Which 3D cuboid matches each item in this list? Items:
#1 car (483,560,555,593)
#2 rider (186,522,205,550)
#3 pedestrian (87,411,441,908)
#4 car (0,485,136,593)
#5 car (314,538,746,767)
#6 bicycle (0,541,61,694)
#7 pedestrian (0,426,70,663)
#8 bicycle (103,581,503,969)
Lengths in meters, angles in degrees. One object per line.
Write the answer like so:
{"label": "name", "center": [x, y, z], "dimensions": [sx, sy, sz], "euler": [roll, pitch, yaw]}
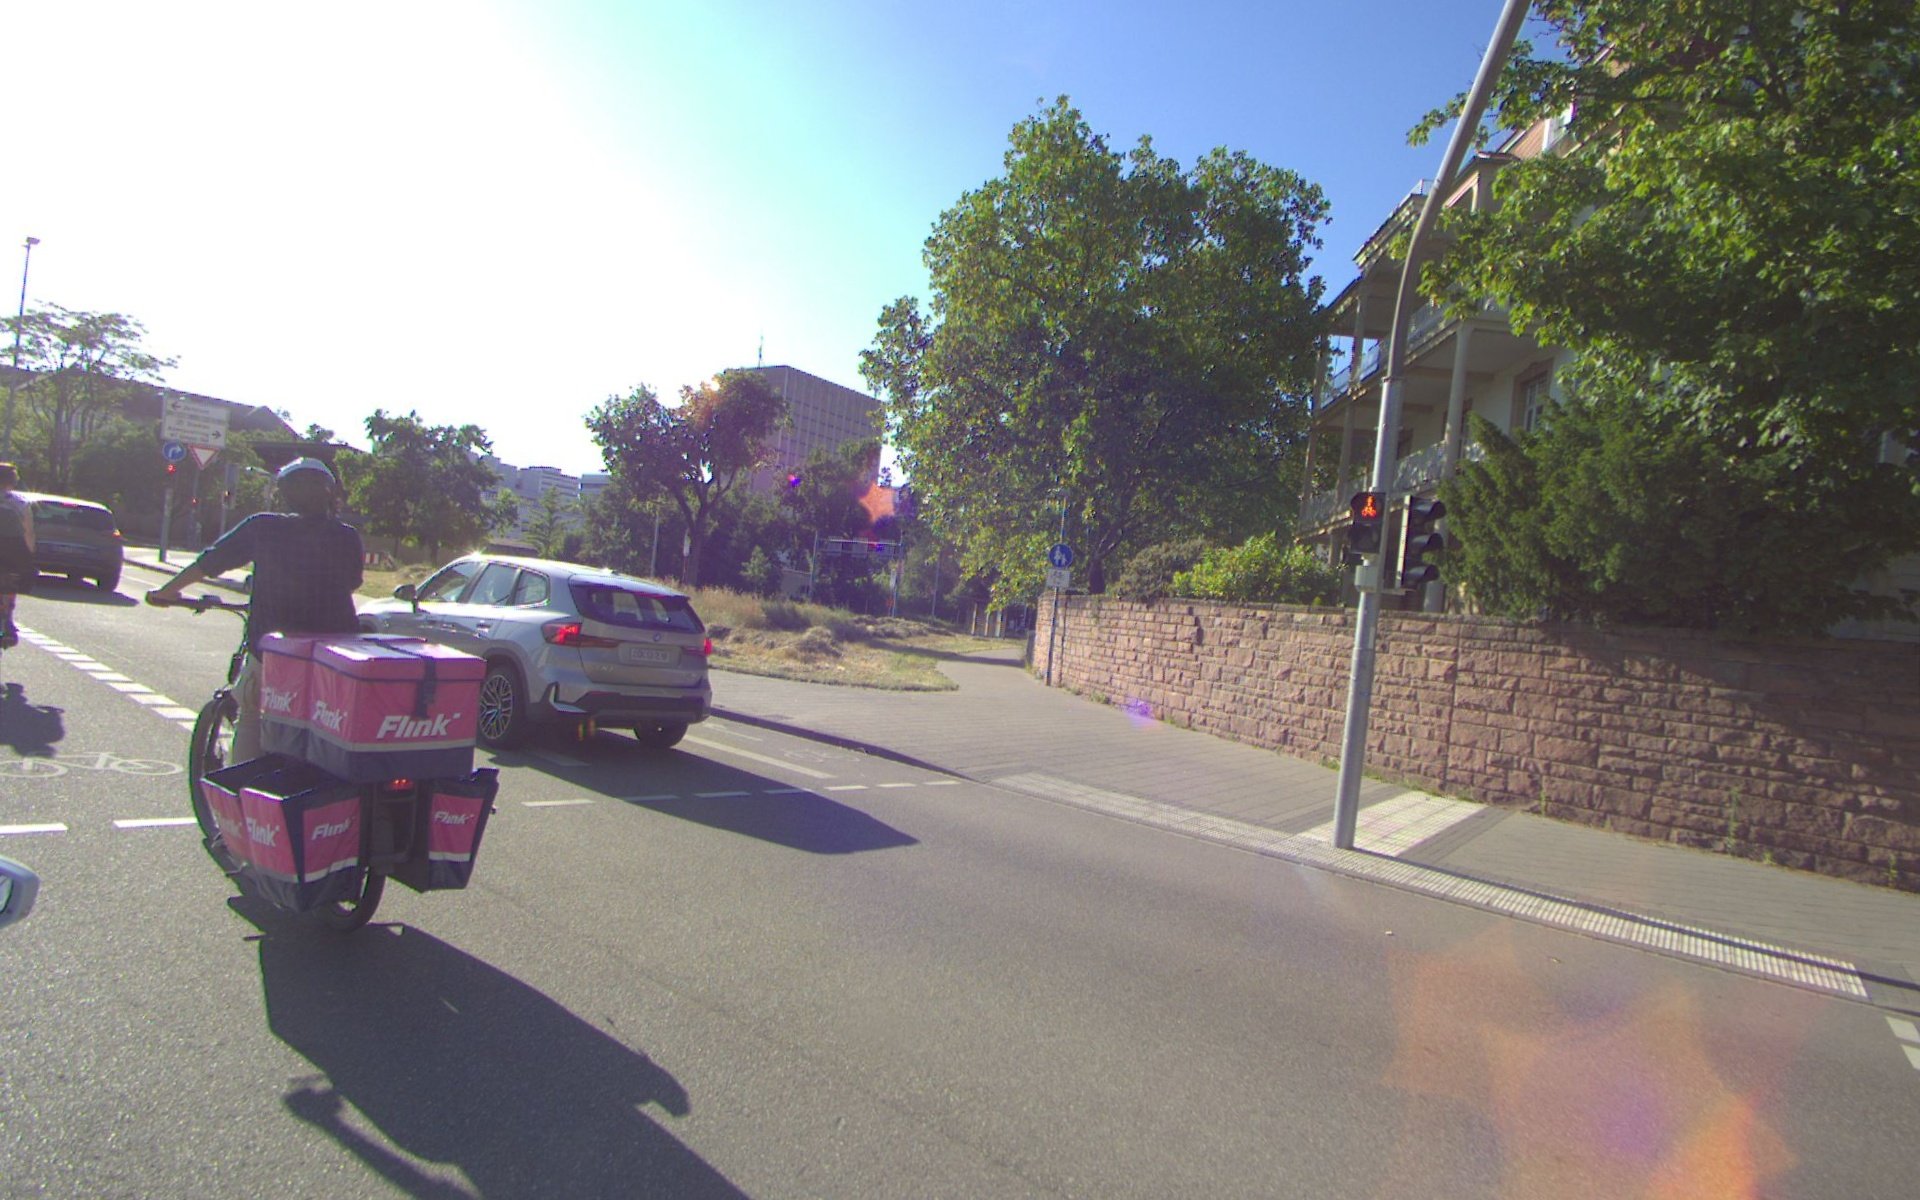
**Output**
{"label": "car", "center": [-27.189, -1.439, 62.095], "dimensions": [3.626, 1.579, 1.630], "euler": [7, -1, -43]}
{"label": "rider", "center": [-47.589, -3.956, 62.643], "dimensions": [0.749, 1.616, 0.583], "euler": [8, -2, -40]}
{"label": "pedestrian", "center": [-3.033, 0.229, 4.406], "dimensions": [0.941, 1.890, 0.807], "euler": [6, -2, 34]}
{"label": "car", "center": [-18.106, -1.231, 19.775], "dimensions": [4.303, 1.708, 1.832], "euler": [5, -3, 37]}
{"label": "car", "center": [-4.282, 0.428, 9.767], "dimensions": [4.263, 1.612, 1.788], "euler": [5, -3, 36]}
{"label": "bicycle", "center": [-8.212, 0.084, 8.505], "dimensions": [1.922, 1.164, 0.563], "euler": [5, -2, 41]}
{"label": "pedestrian", "center": [-8.108, -0.475, 8.437], "dimensions": [0.860, 1.890, 0.658], "euler": [5, -2, 40]}
{"label": "bicycle", "center": [-2.920, 0.607, 4.330], "dimensions": [2.336, 1.184, 0.554], "euler": [5, -2, 37]}
